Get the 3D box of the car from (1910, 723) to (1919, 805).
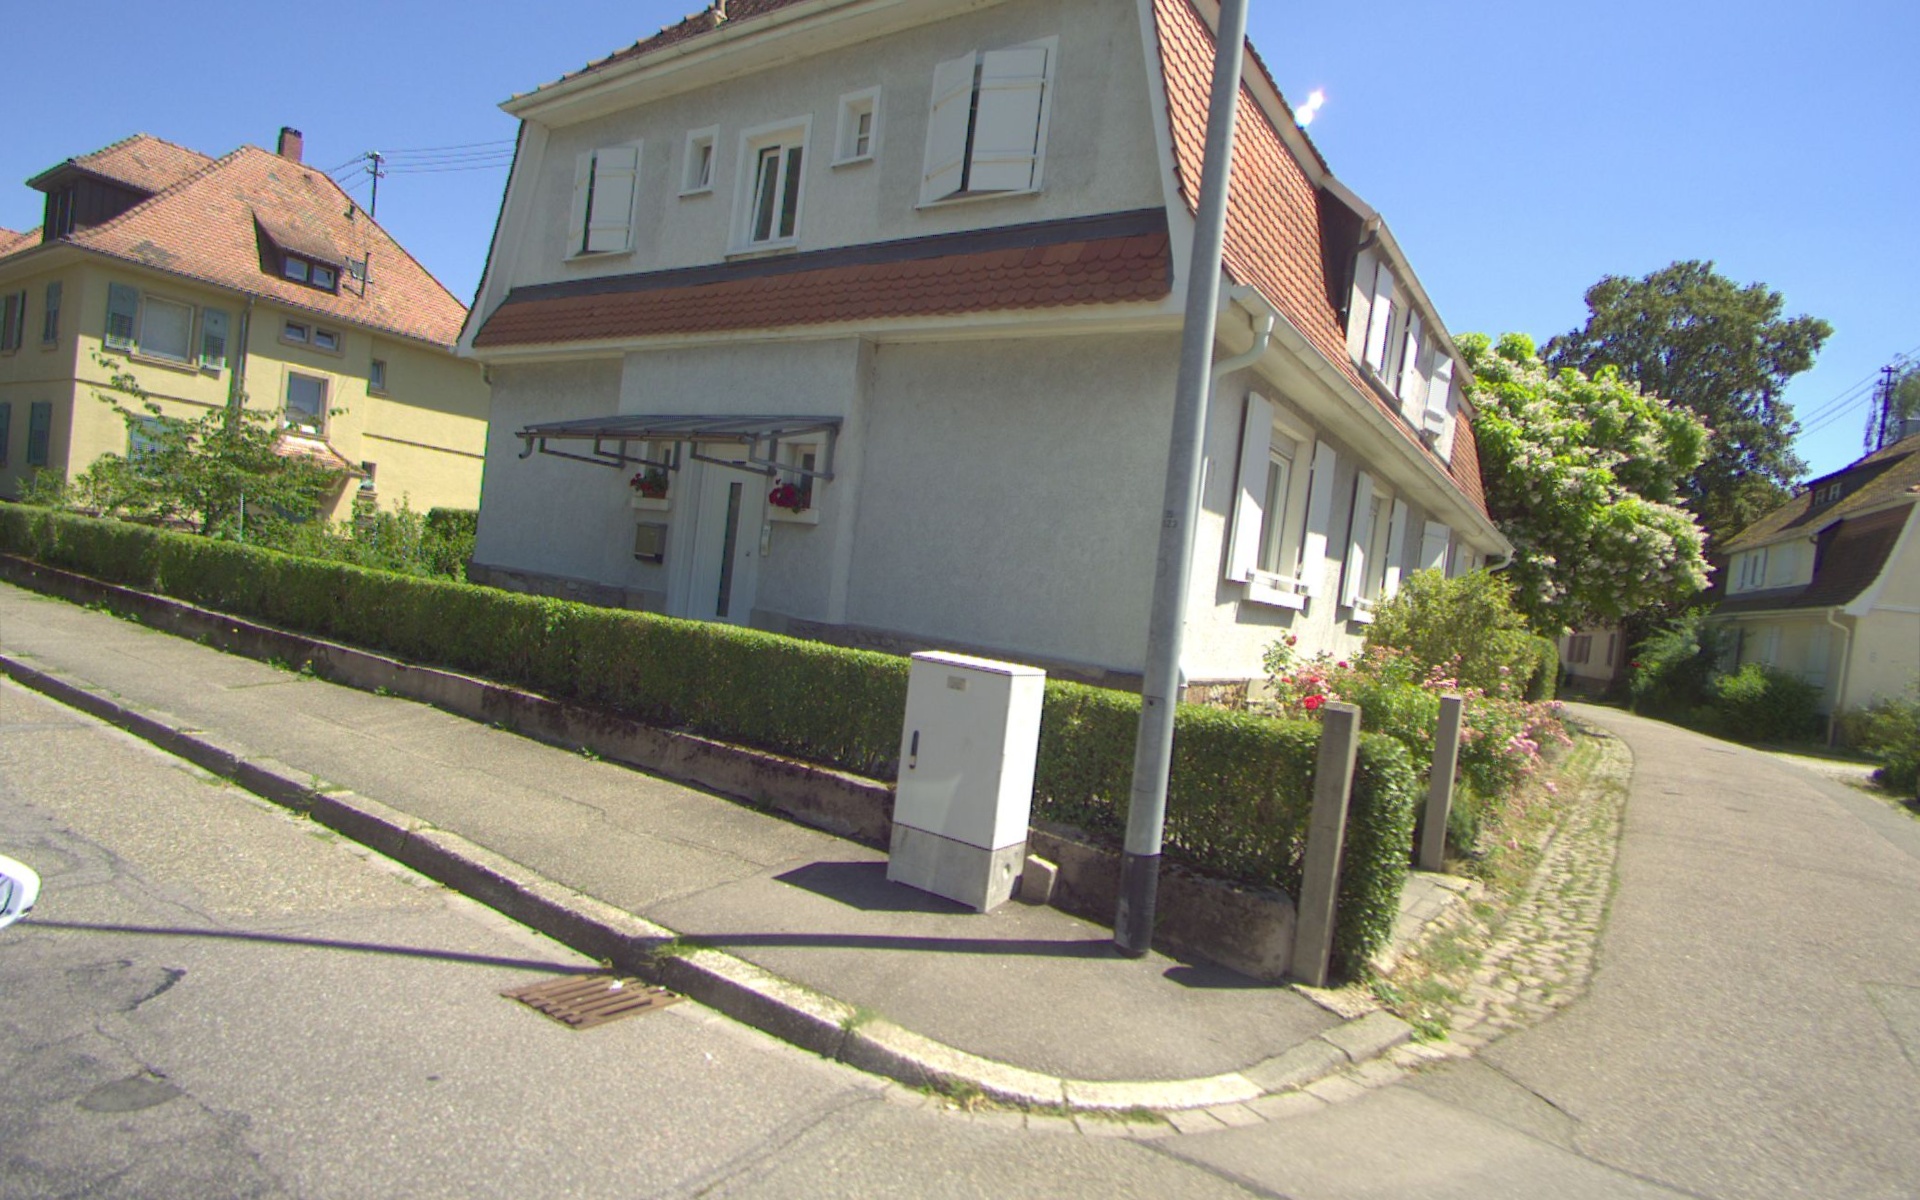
[{"bbox_3d":[15.199,2.465,14.462,1.667,1.469,3.740,7,-1,37],"label":"car"}]
